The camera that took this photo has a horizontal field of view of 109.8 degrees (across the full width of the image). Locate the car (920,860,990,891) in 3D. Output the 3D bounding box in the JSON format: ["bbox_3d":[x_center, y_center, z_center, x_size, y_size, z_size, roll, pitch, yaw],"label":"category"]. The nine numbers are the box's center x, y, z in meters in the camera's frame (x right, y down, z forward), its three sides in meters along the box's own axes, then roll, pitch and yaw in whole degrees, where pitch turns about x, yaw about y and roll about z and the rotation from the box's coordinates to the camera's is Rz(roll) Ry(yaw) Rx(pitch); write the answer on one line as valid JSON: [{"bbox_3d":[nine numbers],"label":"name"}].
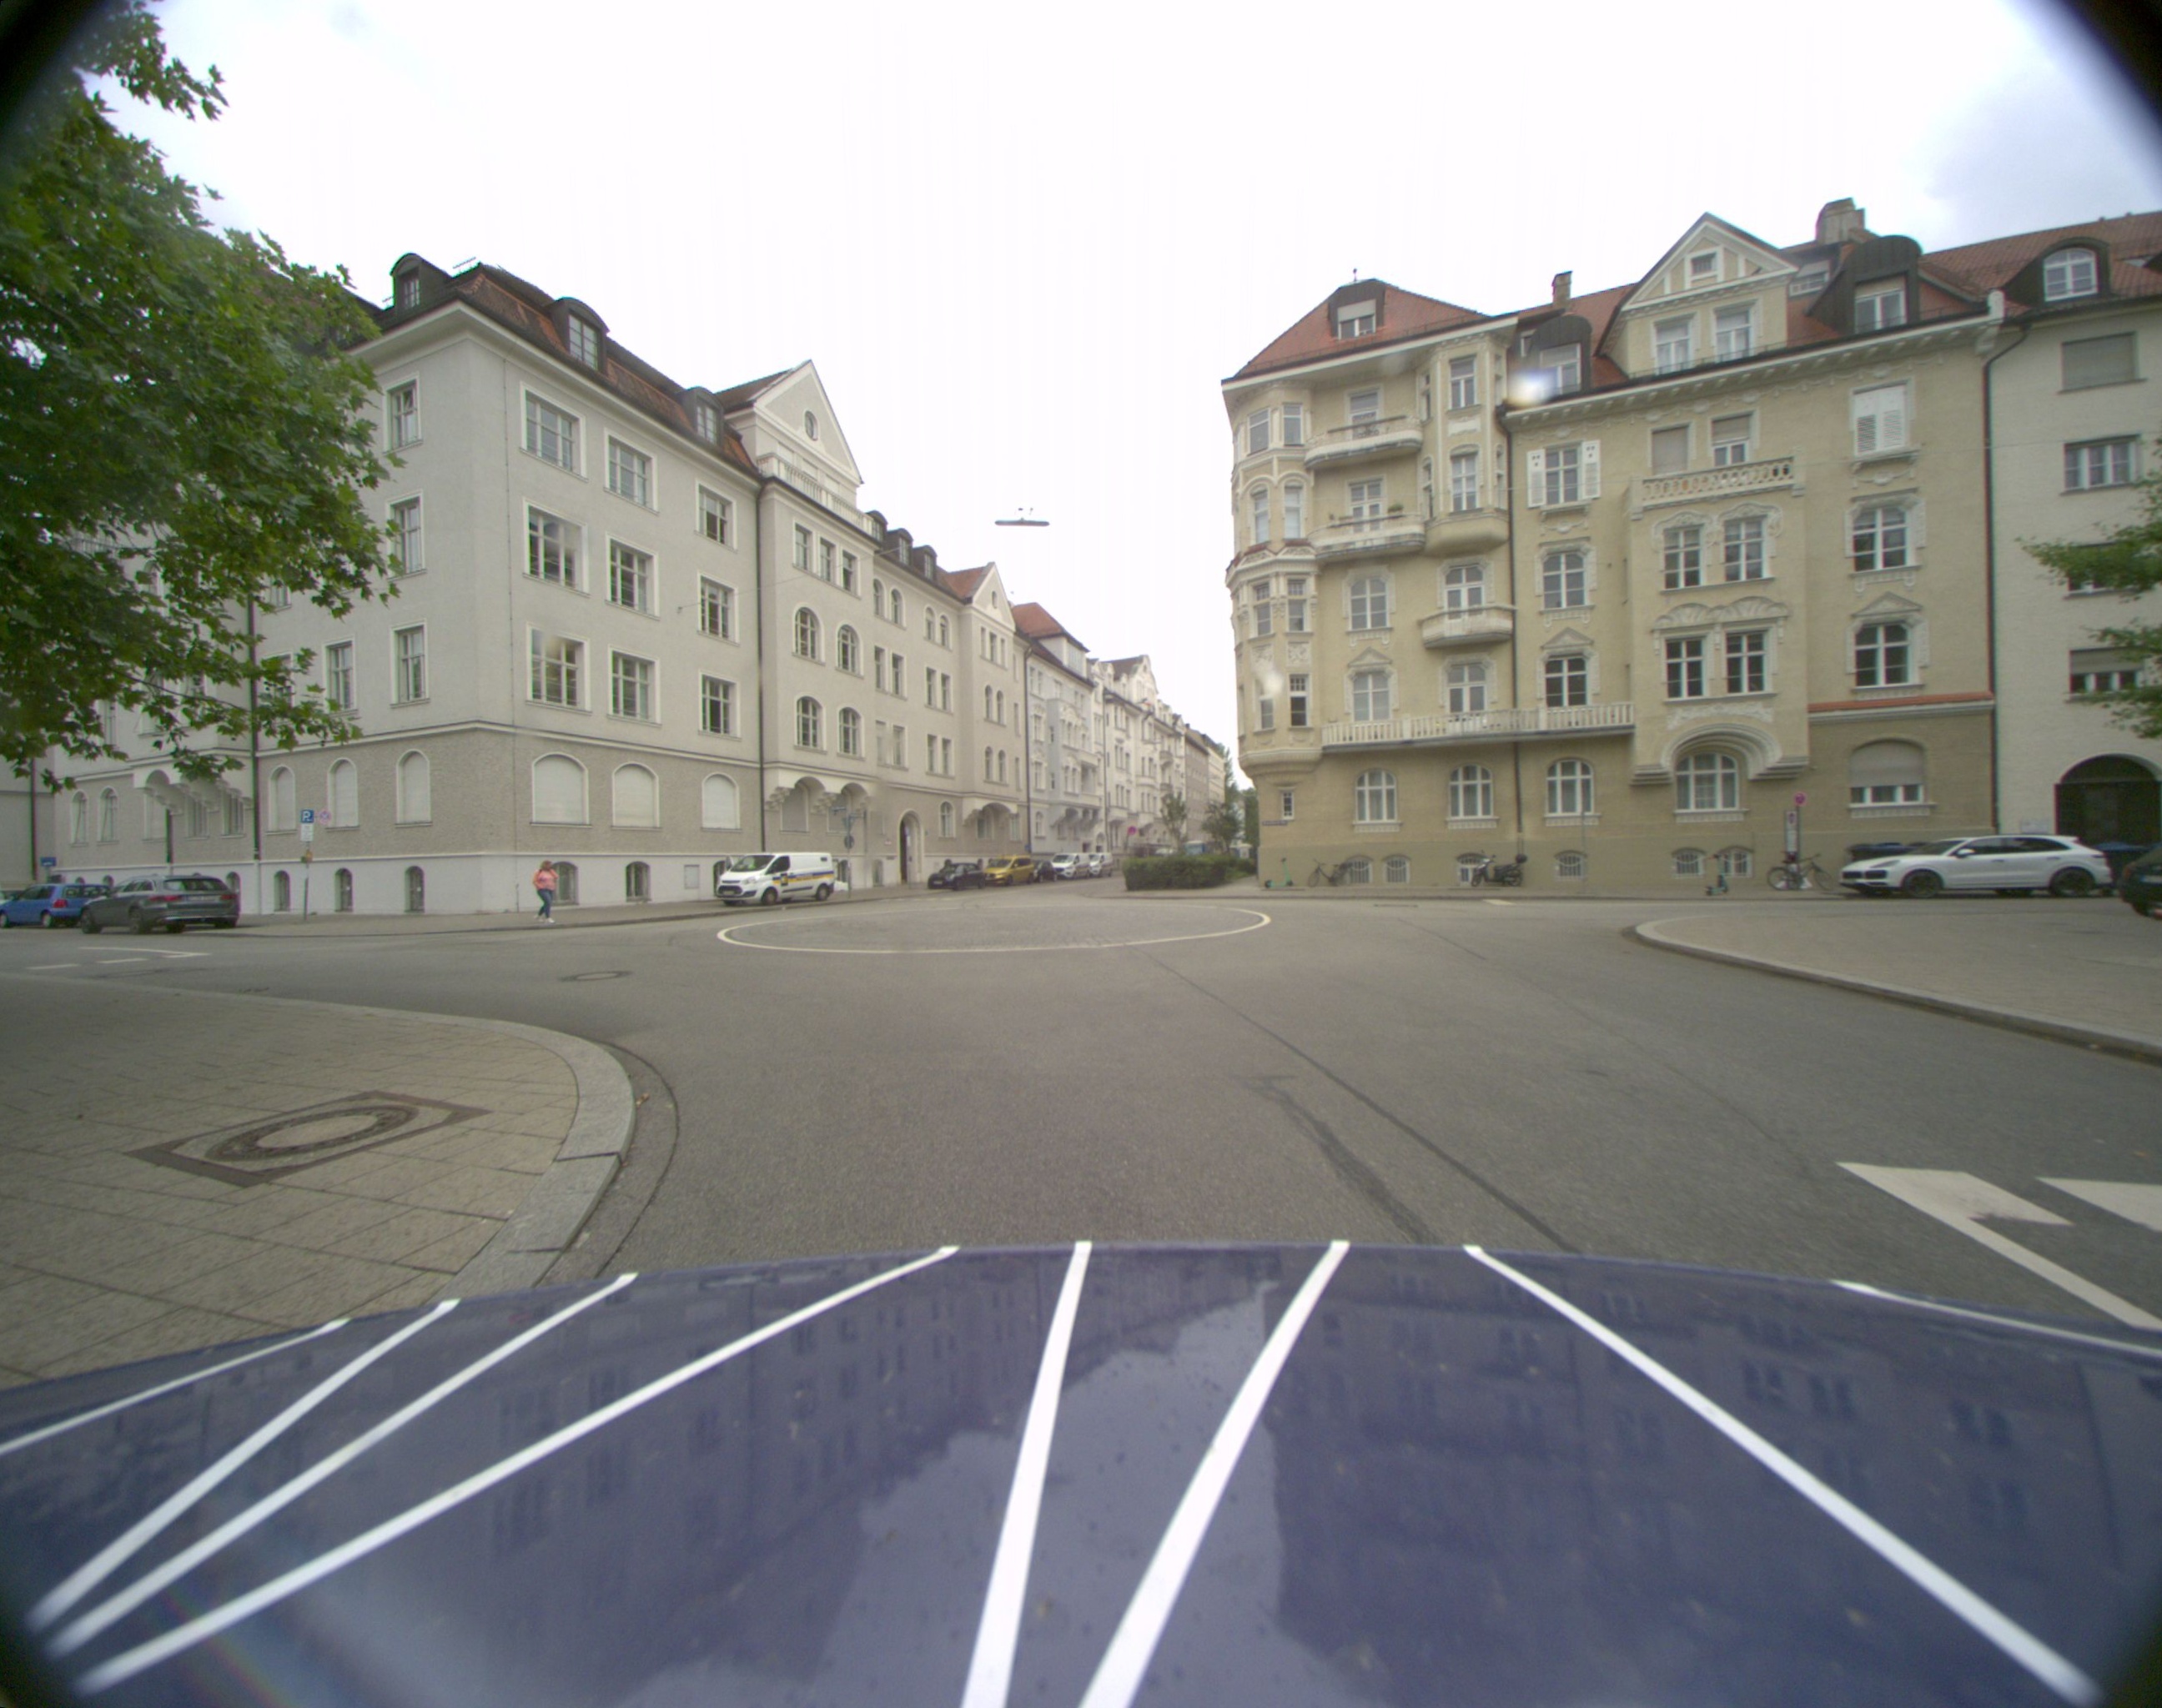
[{"bbox_3d":[-6.651,1.105,40.600,1.947,1.412,3.824,0,2,22],"label":"car"}]

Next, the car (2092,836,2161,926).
[{"bbox_3d":[21.015,0.462,13.164,4.092,1.580,1.593,-1,0,15],"label":"car"}]

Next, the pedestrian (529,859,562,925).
[{"bbox_3d":[-14.532,1.018,20.629,0.404,1.758,0.571,0,1,30],"label":"pedestrian"}]

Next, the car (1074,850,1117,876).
[{"bbox_3d":[1.245,0.682,61.986,2.050,1.928,4.582,0,2,20],"label":"car"}]

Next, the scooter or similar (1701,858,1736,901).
[{"bbox_3d":[19.354,0.760,23.066,1.280,1.223,0.408,-2,2,-31],"label":"scooter or similar"}]

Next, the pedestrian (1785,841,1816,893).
[{"bbox_3d":[23.246,0.425,24.562,0.606,1.655,0.464,-1,2,25],"label":"pedestrian"}]

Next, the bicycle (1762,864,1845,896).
[{"bbox_3d":[22.383,0.791,23.572,1.807,0.952,0.468,-1,2,22],"label":"bicycle"}]

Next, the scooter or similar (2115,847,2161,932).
[{"bbox_3d":[18.101,0.580,12.479,0.803,1.379,1.103,-2,-1,-20],"label":"scooter or similar"}]

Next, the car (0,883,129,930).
[{"bbox_3d":[-33.296,1.671,24.855,3.290,1.325,1.703,0,2,21],"label":"car"}]

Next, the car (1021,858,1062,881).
[{"bbox_3d":[-2.619,1.002,50.699,1.439,1.351,3.363,0,2,22],"label":"car"}]

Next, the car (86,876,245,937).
[{"bbox_3d":[-26.438,1.462,21.959,3.990,1.574,1.740,-1,2,22],"label":"car"}]

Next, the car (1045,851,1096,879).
[{"bbox_3d":[-0.719,0.769,56.216,2.154,1.902,4.779,0,2,20],"label":"car"}]

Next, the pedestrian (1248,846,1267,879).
[{"bbox_3d":[9.810,0.467,42.180,0.744,1.782,0.703,0,2,42],"label":"pedestrian"}]

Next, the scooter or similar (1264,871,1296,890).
[{"bbox_3d":[8.016,1.062,30.583,1.233,0.683,0.316,-2,2,-8],"label":"scooter or similar"}]

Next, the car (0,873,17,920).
[{"bbox_3d":[-42.620,1.631,28.665,4.099,1.748,1.827,0,2,21],"label":"car"}]

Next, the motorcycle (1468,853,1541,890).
[{"bbox_3d":[15.607,0.640,28.058,2.241,1.319,0.824,-1,2,17],"label":"motorcycle"}]

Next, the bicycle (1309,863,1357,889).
[{"bbox_3d":[10.016,0.862,30.197,1.781,0.986,0.543,-1,2,16],"label":"bicycle"}]

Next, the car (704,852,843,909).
[{"bbox_3d":[-11.494,0.905,28.856,1.947,1.923,4.981,0,1,22],"label":"car"}]

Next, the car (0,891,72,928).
[{"bbox_3d":[-37.730,1.941,26.801,3.209,1.083,1.703,0,2,21],"label":"car"}]

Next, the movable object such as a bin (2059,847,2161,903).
[{"bbox_3d":[27.734,0.532,20.156,1.870,1.365,1.568,0,2,38],"label":"movable object such as a bin"}]

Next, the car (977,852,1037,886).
[{"bbox_3d":[-4.366,0.865,45.630,1.792,1.809,4.310,0,2,22],"label":"car"}]

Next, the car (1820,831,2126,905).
[{"bbox_3d":[24.117,0.335,20.873,5.019,1.855,2.169,0,2,19],"label":"car"}]
